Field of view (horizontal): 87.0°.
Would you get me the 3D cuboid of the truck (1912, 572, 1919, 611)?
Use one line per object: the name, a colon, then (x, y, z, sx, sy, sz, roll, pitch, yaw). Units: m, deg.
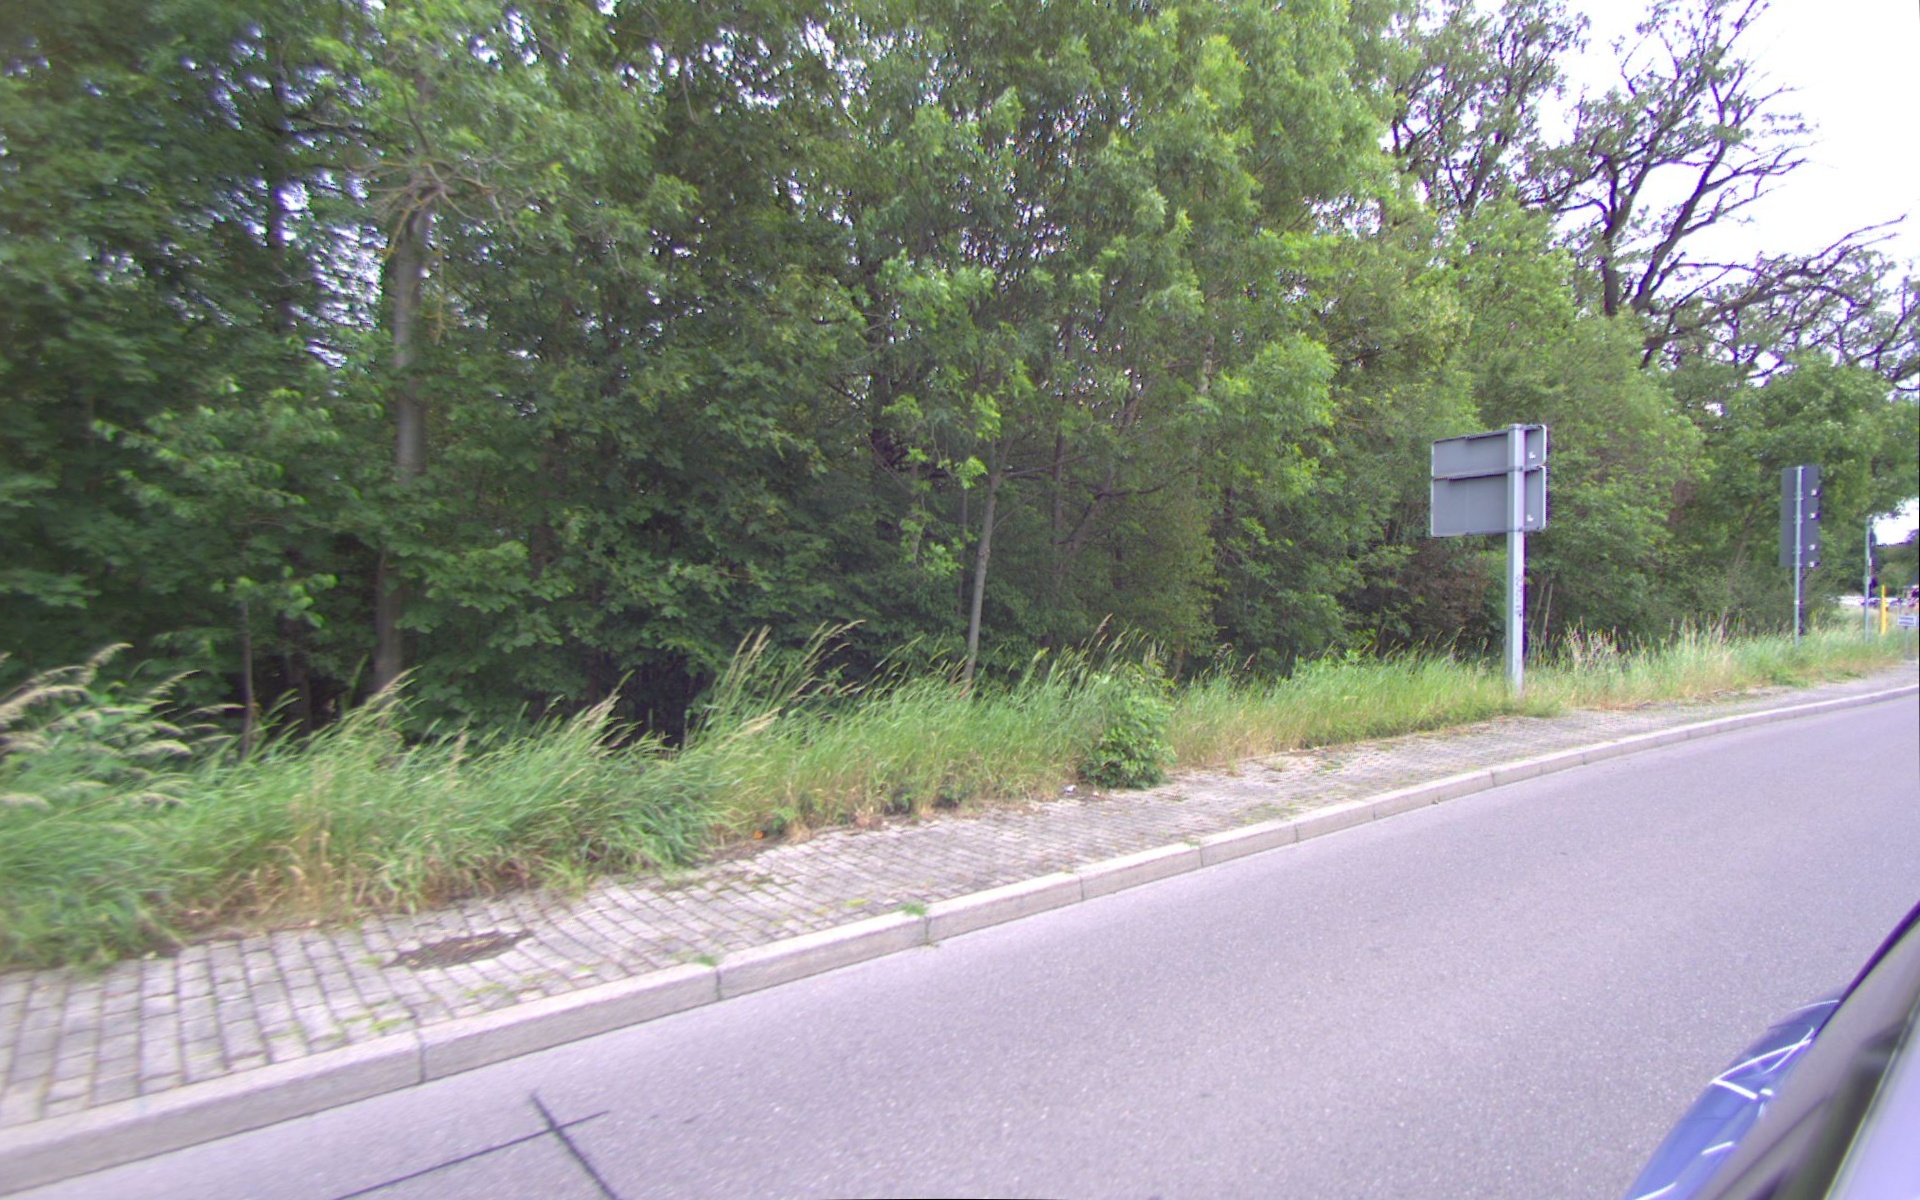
truck: (92.137, -0.771, 95.484, 2.996, 3.685, 6.985, 1, 1, 40)
